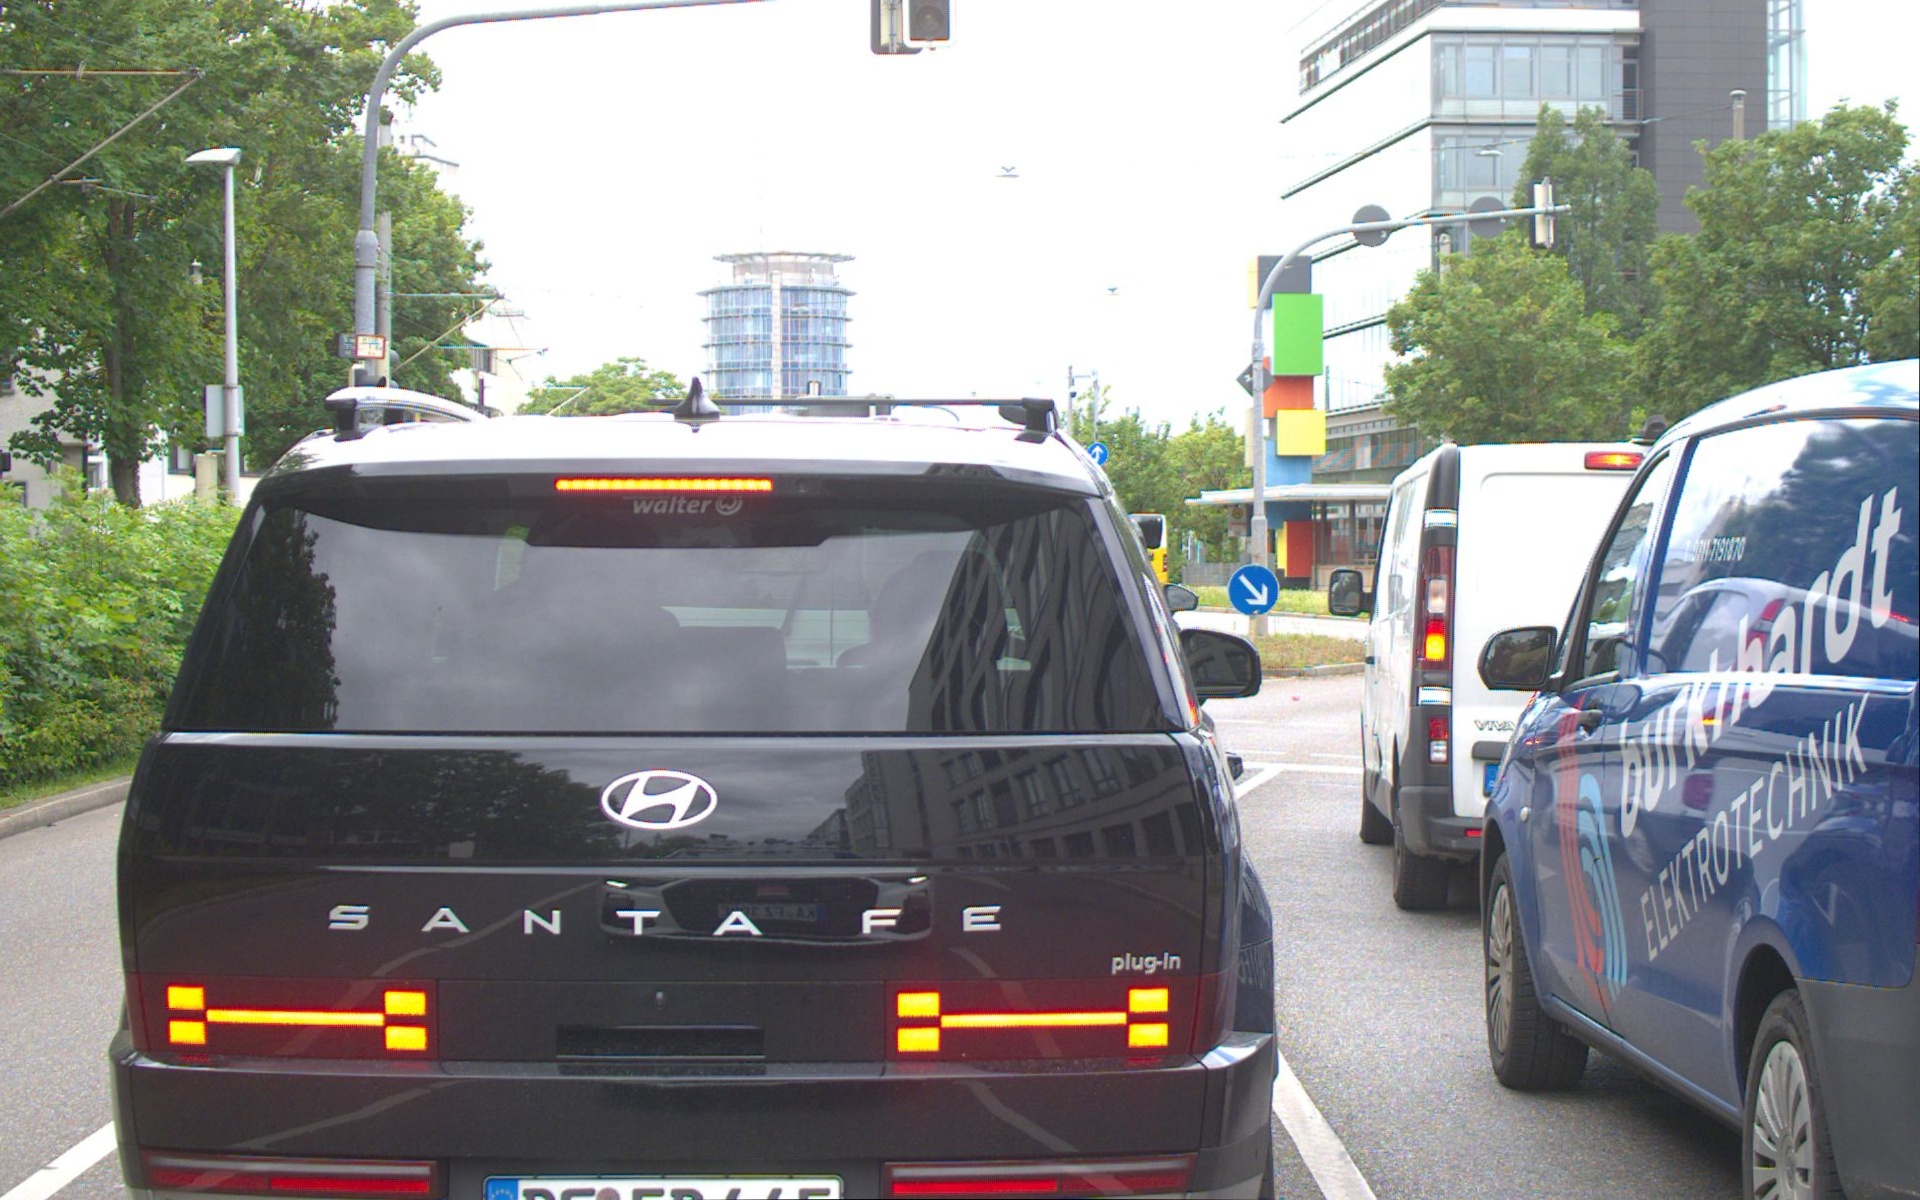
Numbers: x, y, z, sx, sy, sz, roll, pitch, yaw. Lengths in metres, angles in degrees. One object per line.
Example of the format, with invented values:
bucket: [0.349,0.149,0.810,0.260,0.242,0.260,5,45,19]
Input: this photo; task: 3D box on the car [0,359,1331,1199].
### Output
car: [-0.443,0.515,6.667,1.869,1.754,3.880,0,1,-1]

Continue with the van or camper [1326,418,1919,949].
van or camper: [2.786,0.277,15.468,1.994,2.007,4.652,1,1,3]

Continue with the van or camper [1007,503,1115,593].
van or camper: [3.008,-1.491,100.576,1.994,2.538,6.575,1,0,12]

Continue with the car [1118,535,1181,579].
car: [7.257,-1.640,131.818,1.993,1.678,4.000,0,0,-3]

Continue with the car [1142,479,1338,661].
car: [3.223,-0.348,40.324,1.993,2.007,4.000,0,0,1]

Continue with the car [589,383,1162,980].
car: [-0.304,0.239,13.476,1.915,1.996,3.880,0,1,-1]

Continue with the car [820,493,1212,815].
car: [0.450,0.271,20.607,1.776,1.711,4.337,1,0,9]

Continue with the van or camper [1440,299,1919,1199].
van or camper: [2.392,0.440,7.778,1.859,1.904,5.032,0,1,-1]
